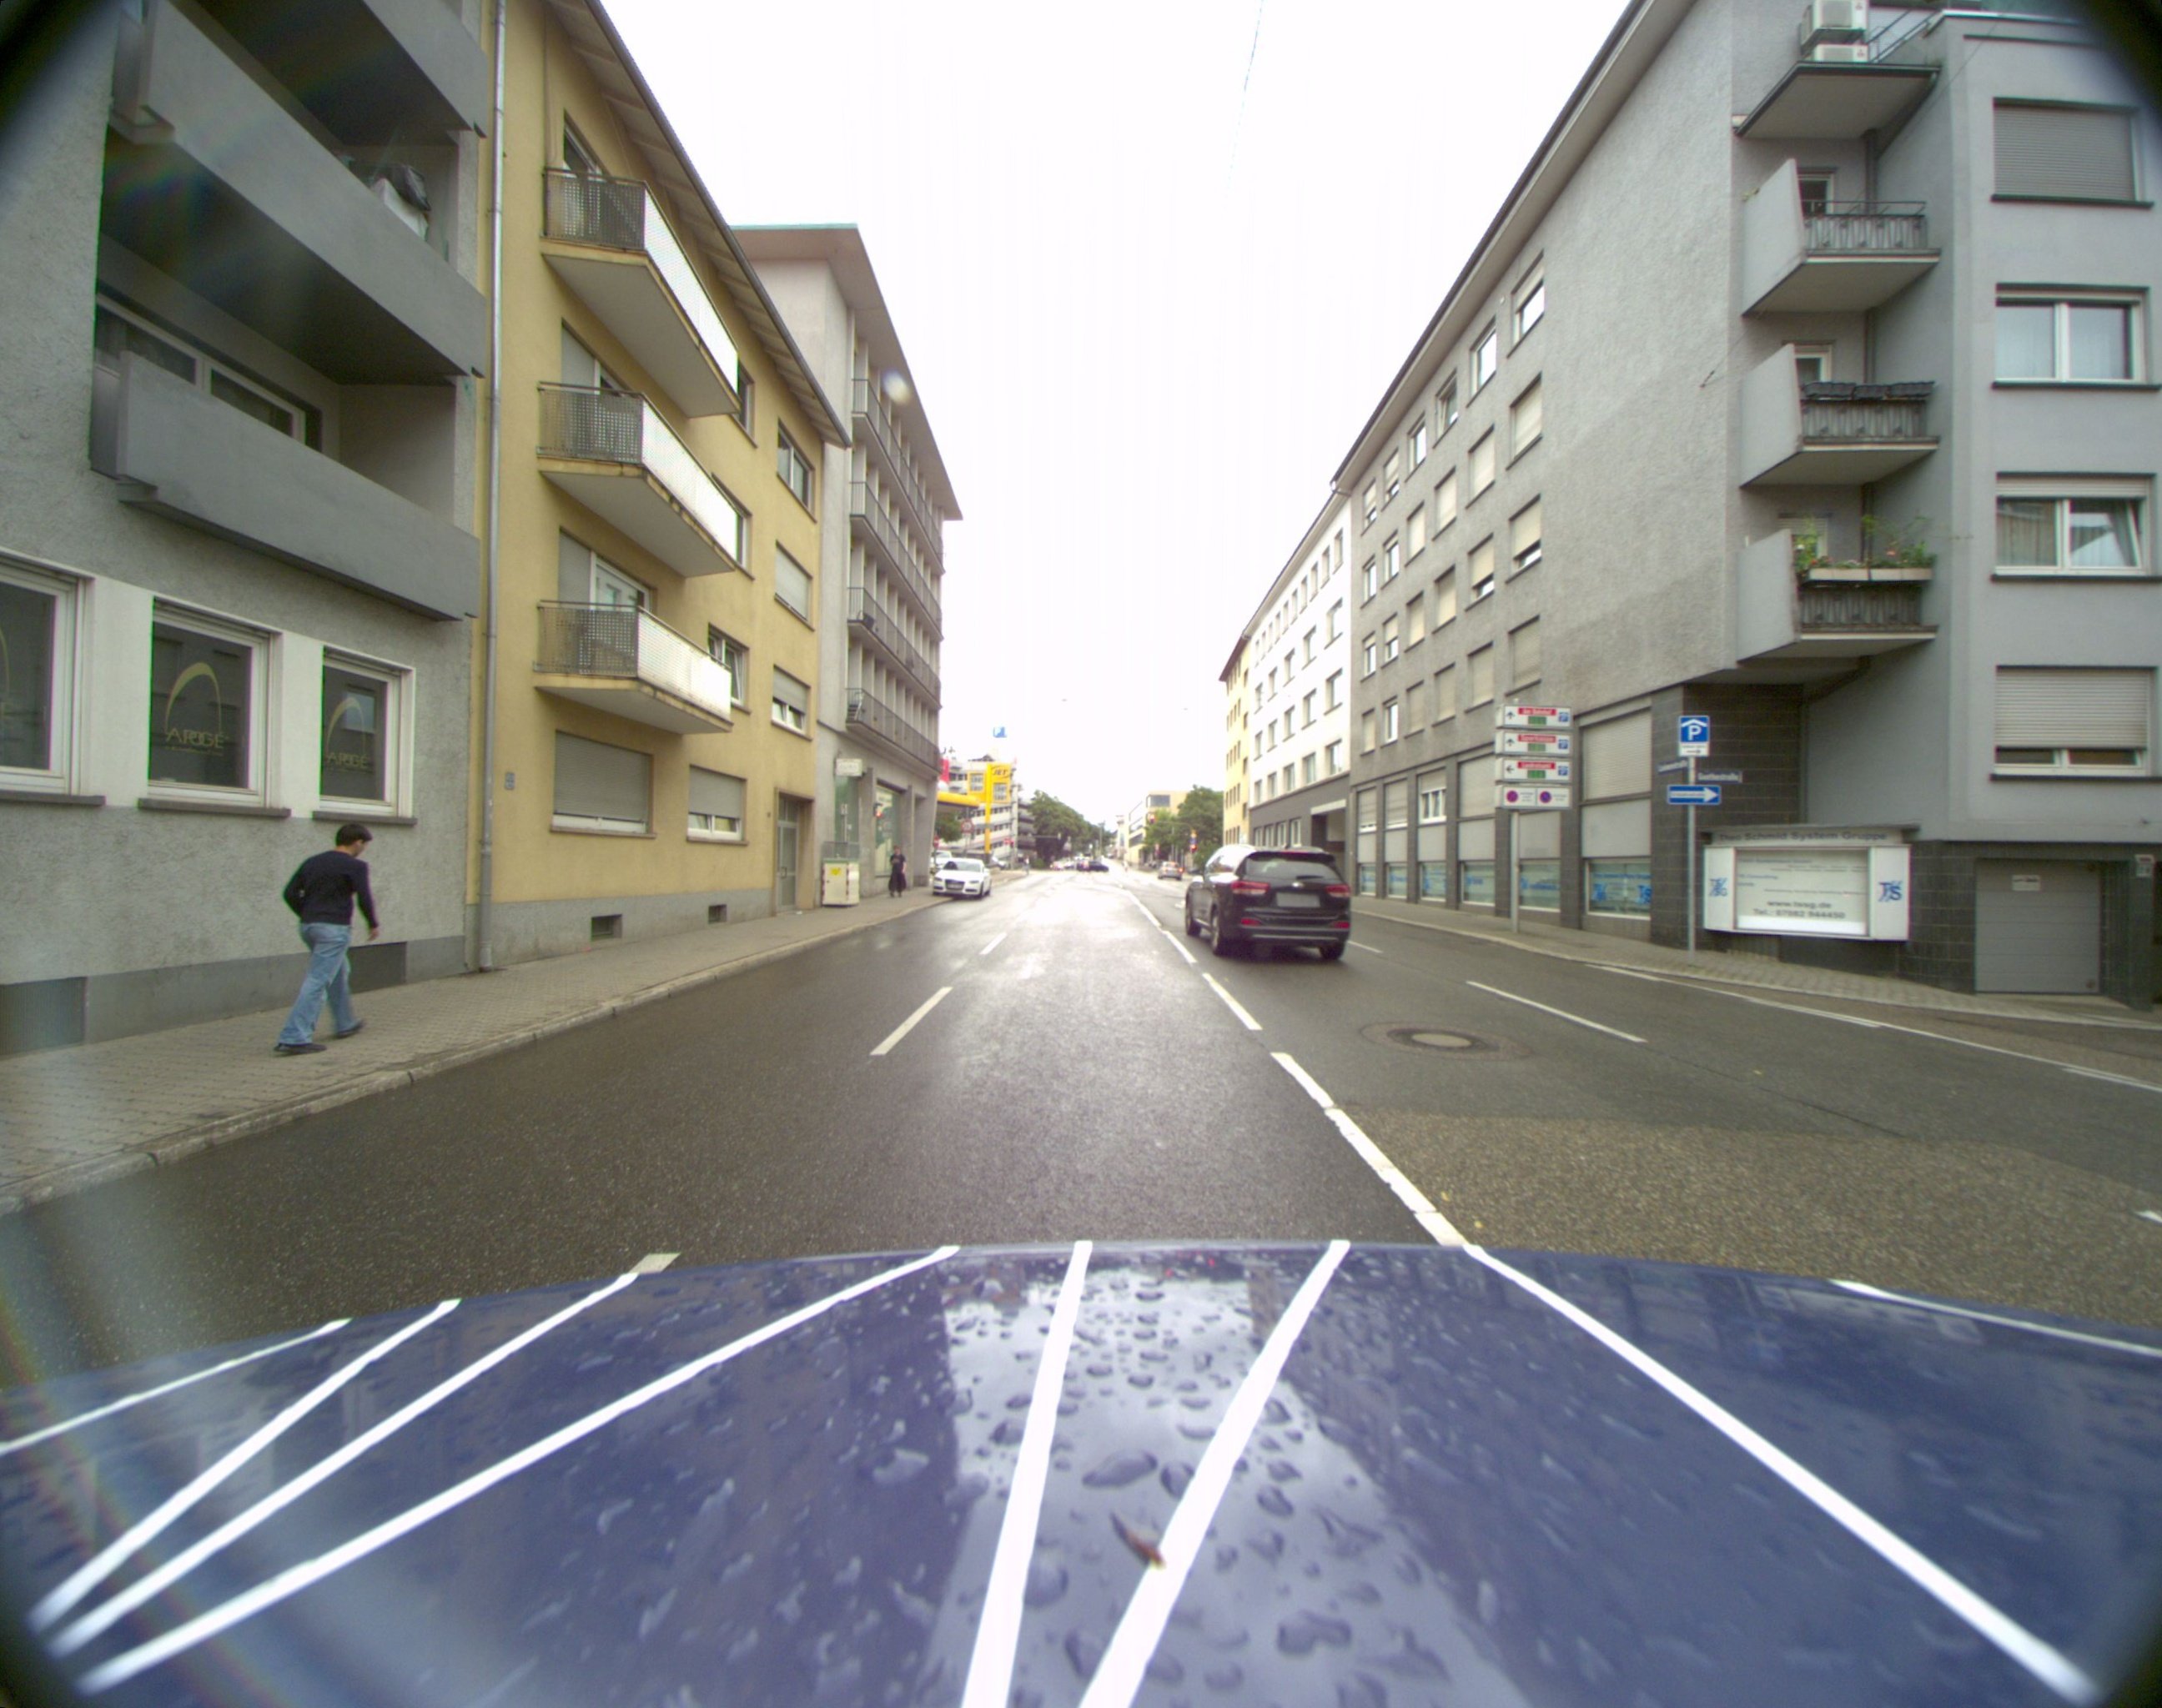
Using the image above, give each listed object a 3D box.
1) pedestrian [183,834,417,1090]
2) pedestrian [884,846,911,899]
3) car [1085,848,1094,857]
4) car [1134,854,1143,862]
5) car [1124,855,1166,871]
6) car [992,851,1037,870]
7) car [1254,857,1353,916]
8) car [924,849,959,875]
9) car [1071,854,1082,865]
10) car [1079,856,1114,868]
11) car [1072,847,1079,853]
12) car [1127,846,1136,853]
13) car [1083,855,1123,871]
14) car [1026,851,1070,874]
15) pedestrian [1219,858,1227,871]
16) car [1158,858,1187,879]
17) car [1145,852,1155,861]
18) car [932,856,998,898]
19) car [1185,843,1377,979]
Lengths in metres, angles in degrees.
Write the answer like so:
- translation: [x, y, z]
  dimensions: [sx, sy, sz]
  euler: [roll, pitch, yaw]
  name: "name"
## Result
- translation: [-5.917, 0.753, 5.833]
  dimensions: [0.644, 1.768, 1.056]
  euler: [3, 1, 0]
  name: "pedestrian"
- translation: [-6.156, 0.600, 25.516]
  dimensions: [0.679, 1.745, 0.888]
  euler: [1, 1, -1]
  name: "pedestrian"
- translation: [2.108, -0.324, 189.086]
  dimensions: [1.998, 2.002, 3.999]
  euler: [-2, 1, 1]
  name: "car"
- translation: [13.873, 0.879, 182.351]
  dimensions: [1.998, 1.683, 4.000]
  euler: [-2, 1, 2]
  name: "car"
- translation: [6.226, 0.877, 74.181]
  dimensions: [3.996, 1.499, 1.738]
  euler: [1, 1, 2]
  name: "car"
- translation: [-6.639, 0.617, 76.132]
  dimensions: [3.994, 1.751, 2.001]
  euler: [1, 1, 9]
  name: "car"
- translation: [6.513, 0.887, 22.697]
  dimensions: [1.707, 1.498, 4.159]
  euler: [3, 0, 0]
  name: "car"
- translation: [-8.846, 0.484, 48.318]
  dimensions: [1.771, 1.465, 3.998]
  euler: [-2, 0, -6]
  name: "car"
- translation: [-0.841, 1.087, 148.627]
  dimensions: [1.998, 2.002, 3.999]
  euler: [-2, 1, 0]
  name: "car"
- translation: [1.944, 1.001, 95.907]
  dimensions: [4.006, 1.499, 1.734]
  euler: [1, 1, -26]
  name: "car"
- translation: [-1.880, -1.348, 257.743]
  dimensions: [1.998, 1.827, 3.999]
  euler: [-2, 1, 1]
  name: "car"
- translation: [12.858, -1.111, 192.908]
  dimensions: [1.998, 1.683, 4.000]
  euler: [-2, 1, 2]
  name: "car"
- translation: [2.284, 0.894, 77.285]
  dimensions: [3.996, 1.499, 1.738]
  euler: [1, 1, 2]
  name: "car"
- translation: [-2.975, 0.763, 68.892]
  dimensions: [3.794, 1.823, 1.692]
  euler: [-3, 0, 2]
  name: "car"
- translation: [12.655, 0.909, 67.575]
  dimensions: [0.582, 1.143, 0.407]
  euler: [3, 1, 2]
  name: "pedestrian"
- translation: [7.418, 1.158, 62.104]
  dimensions: [1.883, 1.580, 4.373]
  euler: [0, 0, 1]
  name: "car"
- translation: [15.455, 0.586, 170.070]
  dimensions: [1.998, 1.863, 3.999]
  euler: [-2, 1, 0]
  name: "car"
- translation: [-4.367, 0.819, 29.082]
  dimensions: [1.803, 1.427, 4.166]
  euler: [1, 0, 1]
  name: "car"
- translation: [2.940, 0.746, 12.243]
  dimensions: [1.841, 1.717, 4.474]
  euler: [3, 0, 0]
  name: "car"
